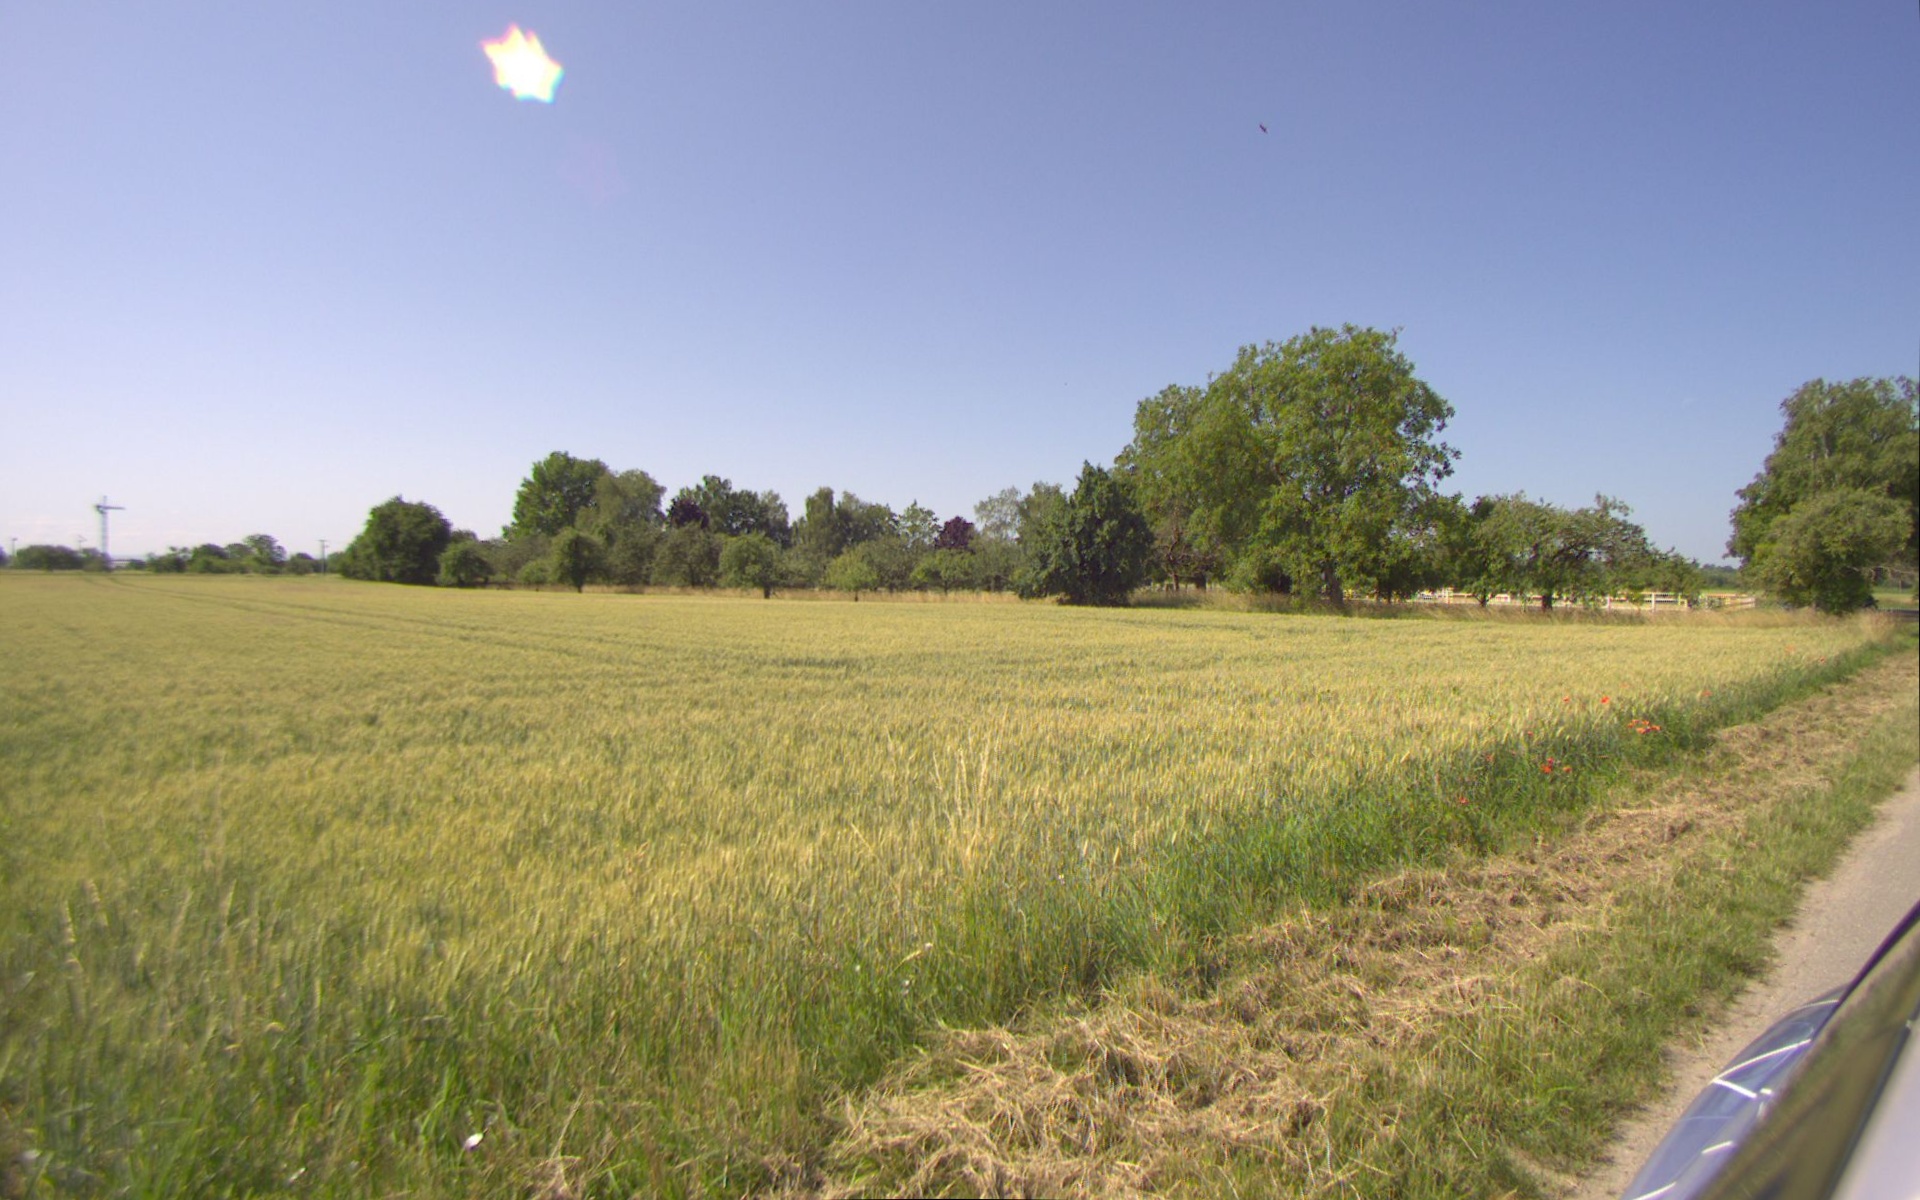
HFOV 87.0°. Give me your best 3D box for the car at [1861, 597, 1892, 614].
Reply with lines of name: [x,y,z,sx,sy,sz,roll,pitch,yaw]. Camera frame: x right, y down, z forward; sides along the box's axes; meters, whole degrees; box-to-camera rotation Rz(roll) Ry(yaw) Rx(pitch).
car: [77.539,0.439,85.655,1.715,1.336,3.690,2,1,39]
